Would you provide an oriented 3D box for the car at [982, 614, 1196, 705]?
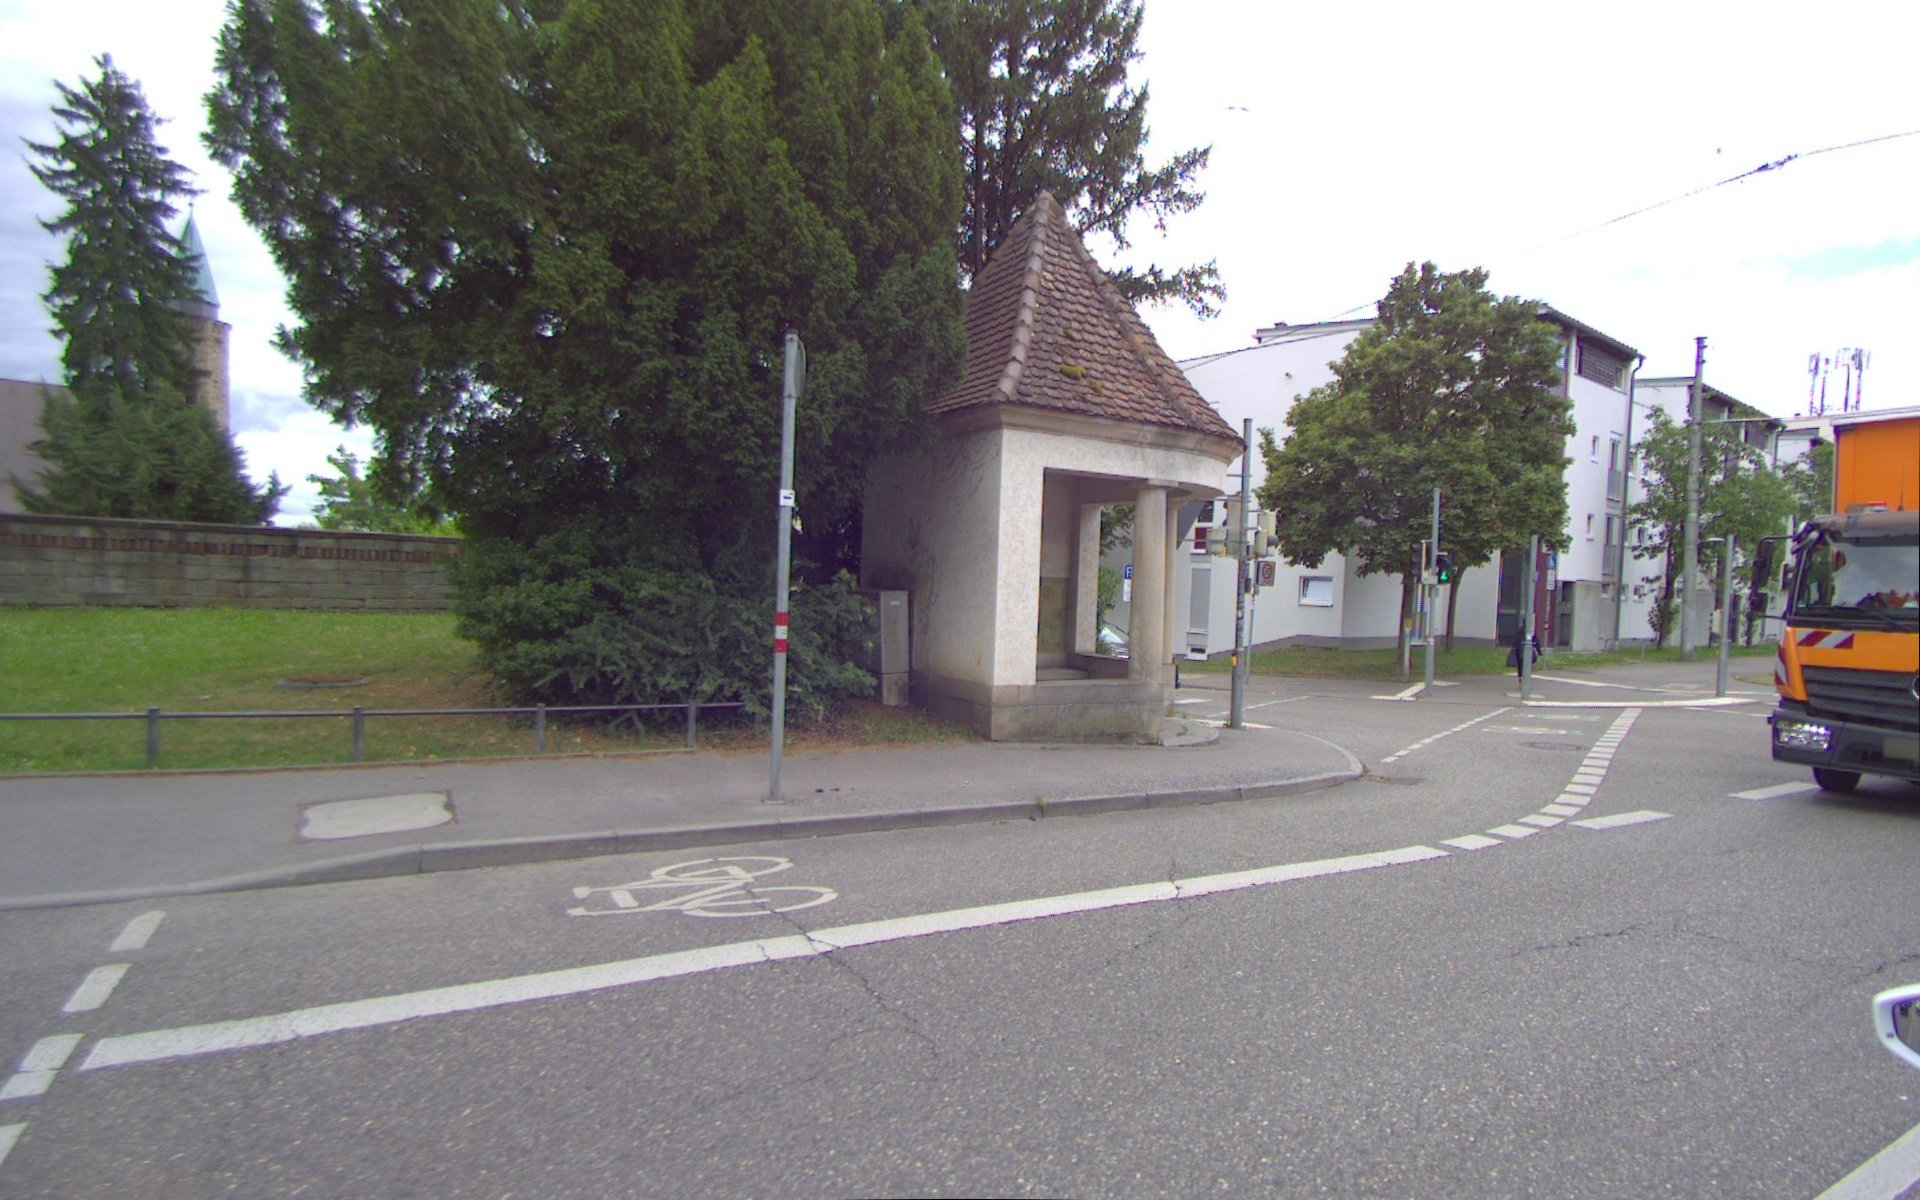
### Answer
[{"bbox_3d":[2.594,1.164,21.111,1.948,1.692,4.442,2,-2,-37],"label":"car"}]

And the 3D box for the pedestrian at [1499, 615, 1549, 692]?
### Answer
[{"bbox_3d":[12.664,1.177,22.552,0.811,1.667,0.670,-1,2,-35],"label":"pedestrian"}]

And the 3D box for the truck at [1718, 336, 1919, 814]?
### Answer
[{"bbox_3d":[11.120,-0.064,10.098,8.374,3.768,2.754,2,-1,-32],"label":"truck"}]
